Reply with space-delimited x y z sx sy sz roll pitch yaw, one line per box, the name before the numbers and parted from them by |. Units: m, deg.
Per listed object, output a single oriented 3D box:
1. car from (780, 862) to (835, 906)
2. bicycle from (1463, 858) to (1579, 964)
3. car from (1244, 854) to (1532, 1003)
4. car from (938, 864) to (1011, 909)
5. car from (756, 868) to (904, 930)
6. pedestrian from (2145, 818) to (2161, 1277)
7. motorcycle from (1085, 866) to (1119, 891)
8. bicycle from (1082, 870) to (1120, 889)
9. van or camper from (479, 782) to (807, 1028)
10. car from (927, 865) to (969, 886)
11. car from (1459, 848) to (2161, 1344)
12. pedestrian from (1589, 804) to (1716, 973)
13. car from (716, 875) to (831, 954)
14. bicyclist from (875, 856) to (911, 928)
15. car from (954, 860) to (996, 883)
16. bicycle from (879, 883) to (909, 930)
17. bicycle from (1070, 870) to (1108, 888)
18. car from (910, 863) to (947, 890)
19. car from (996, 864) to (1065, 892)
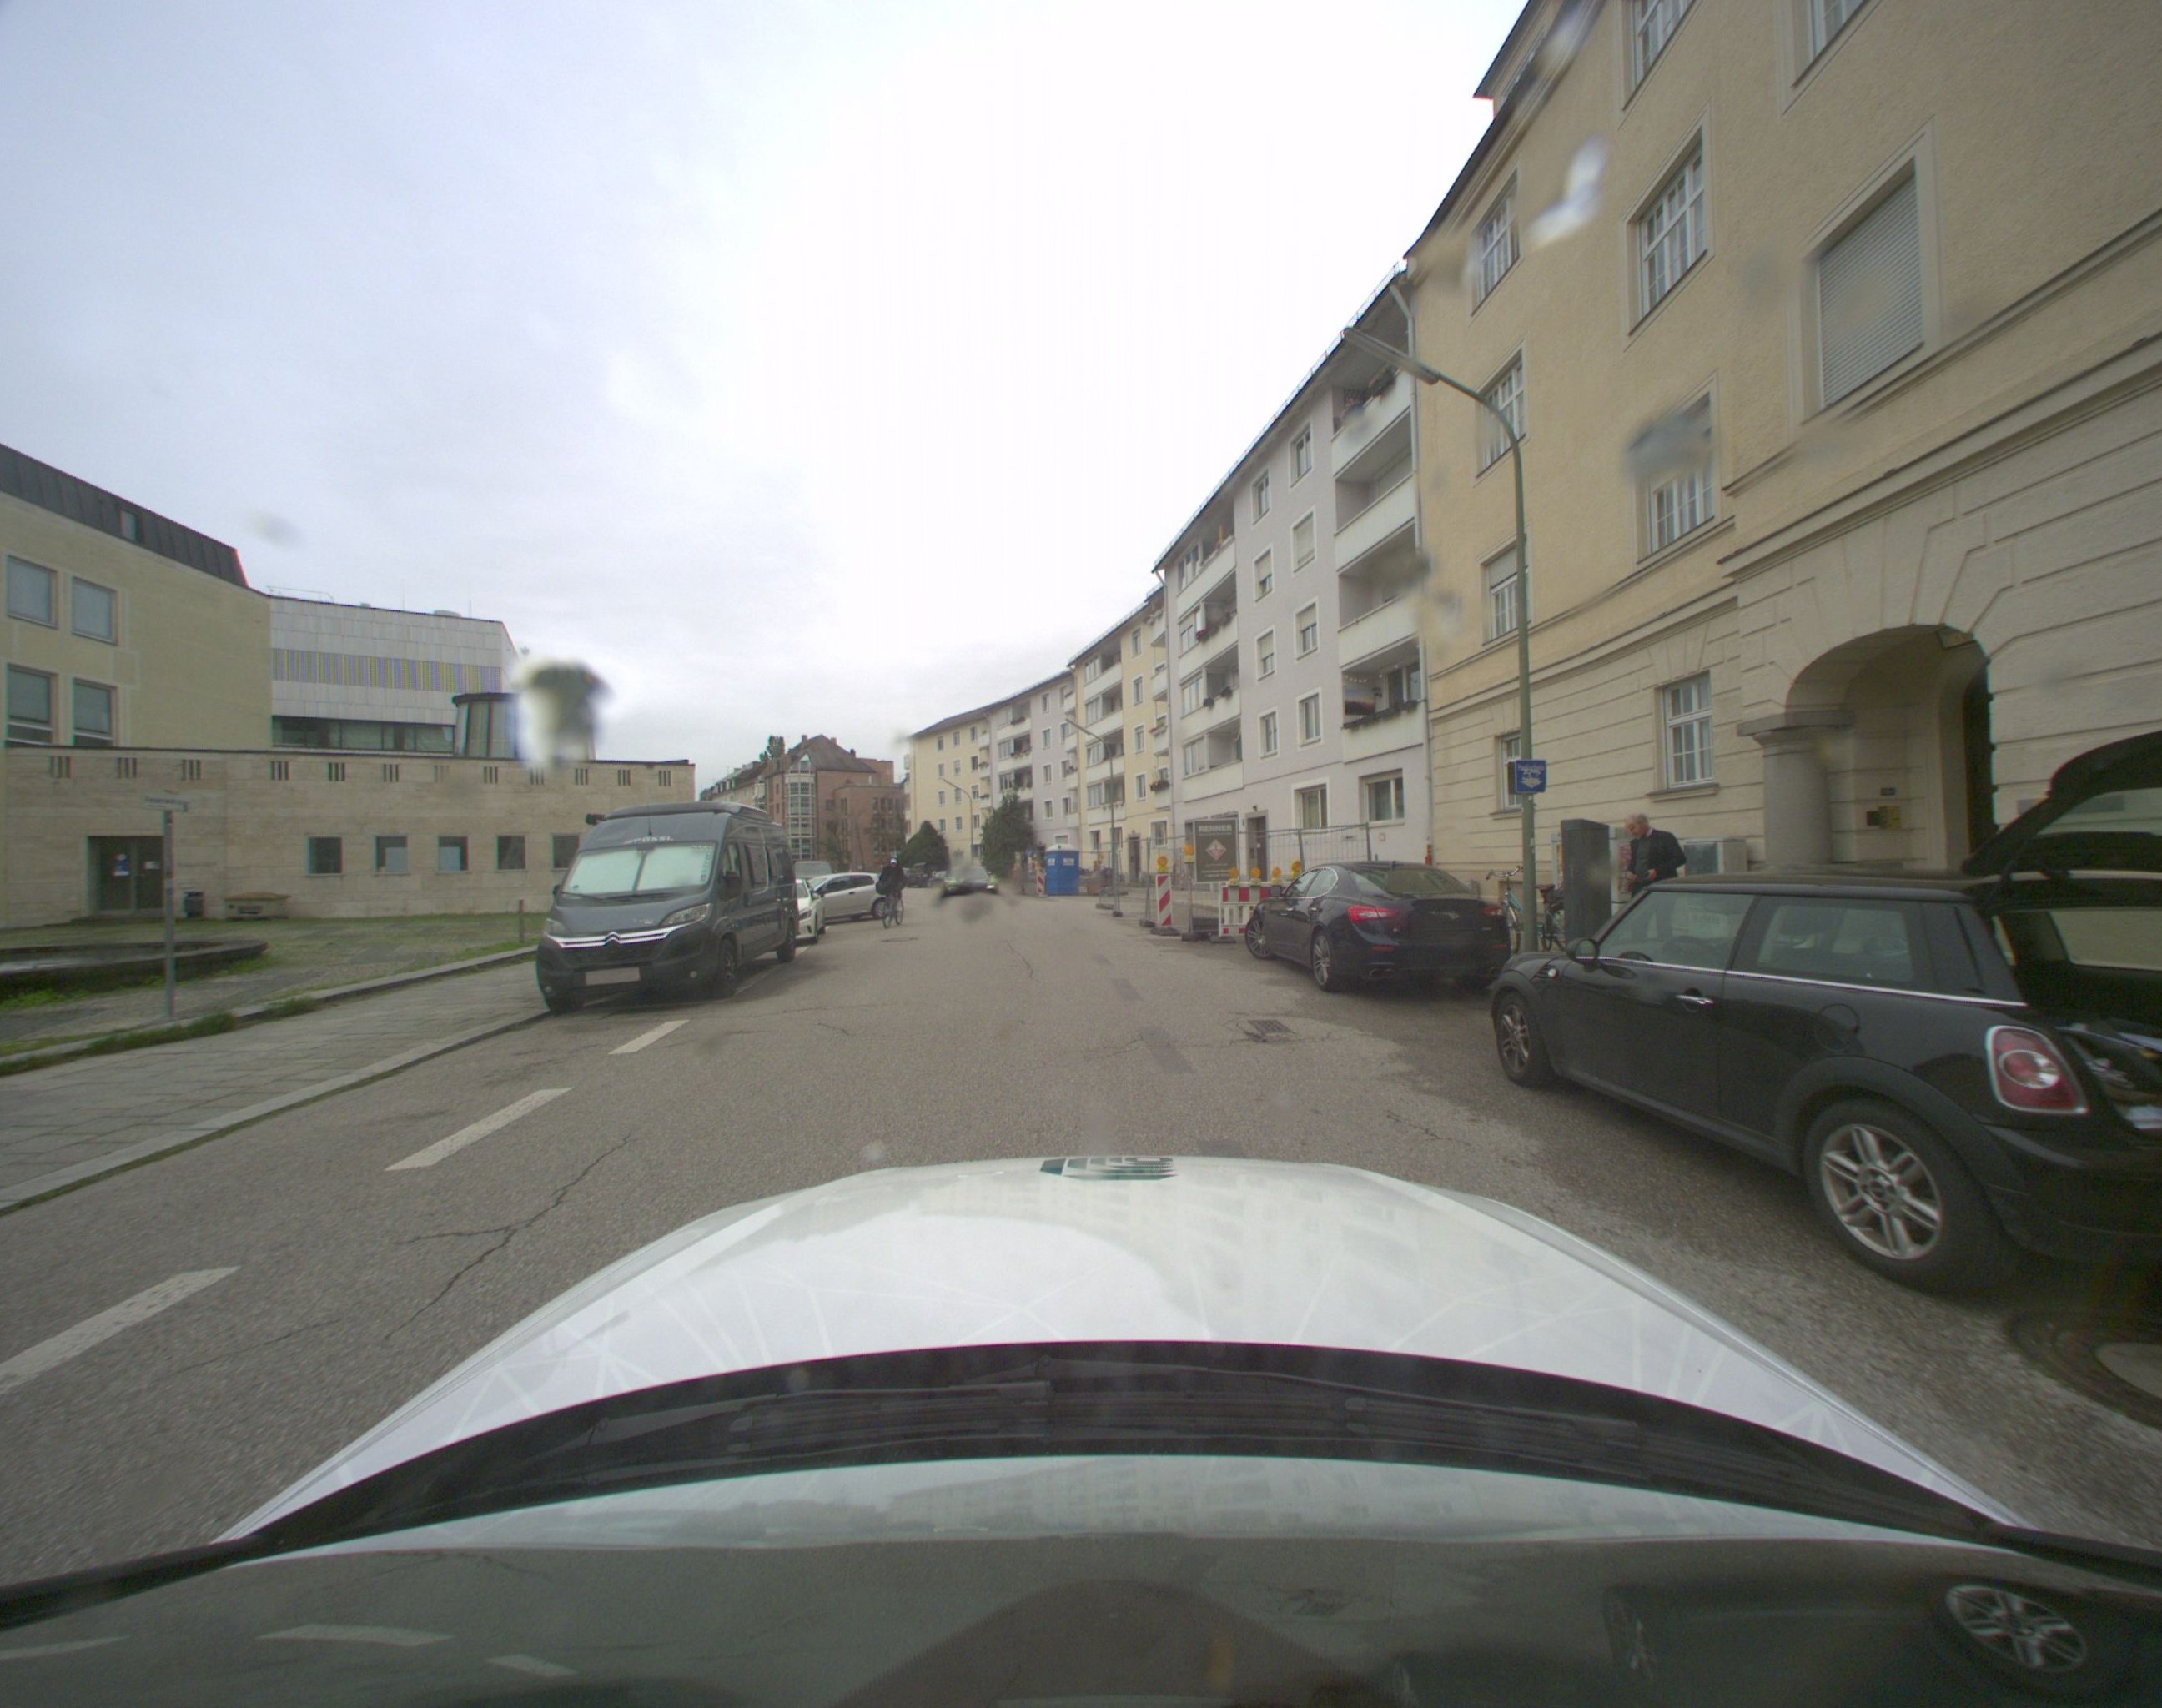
car | -12.059 1.292 35.732 2.060 1.736 4.850 -1 -2 -22
bicycle | 5.631 0.689 10.537 0.634 1.258 1.672 -1 -1 3
car | 3.601 0.758 10.702 1.902 1.477 4.945 -1 0 0
car | -3.923 1.173 30.802 1.913 1.412 4.706 -4 -1 2
car | -7.459 1.314 24.404 1.693 1.507 3.833 -4 -1 44
pedestrian | 3.887 0.638 2.427 0.626 1.529 0.578 -1 -1 2
motorcycle | 1.073 1.285 43.081 0.935 1.221 2.490 -1 -1 -20
bicycle | 1.251 1.588 51.109 2.240 1.069 0.913 -1 -1 -21
van or camper | -5.683 0.531 11.753 2.297 2.581 6.065 -1 0 -10
car | -10.085 1.653 61.609 1.793 1.519 3.682 0 -2 -32
car | 3.592 0.698 4.192 1.625 1.417 3.680 -1 0 1
pedestrian | 6.157 0.360 8.833 0.614 1.690 0.920 -5 -1 4
car | -6.945 1.289 18.818 1.998 1.451 4.192 -4 -1 -16
bicyclist | -4.867 0.964 21.167 0.744 1.771 0.812 -4 0 -10
car | -7.534 1.242 57.433 1.839 1.574 3.967 -1 -1 -25
bicycle | -4.835 1.336 21.101 0.586 1.069 1.930 -4 0 -10
bicycle | 0.520 1.614 52.455 2.240 1.069 0.913 -1 -1 -21
car | -12.282 1.796 65.427 1.792 1.977 3.685 -3 0 -28
car | -2.866 1.312 45.216 1.795 1.439 4.234 -1 -1 -36
